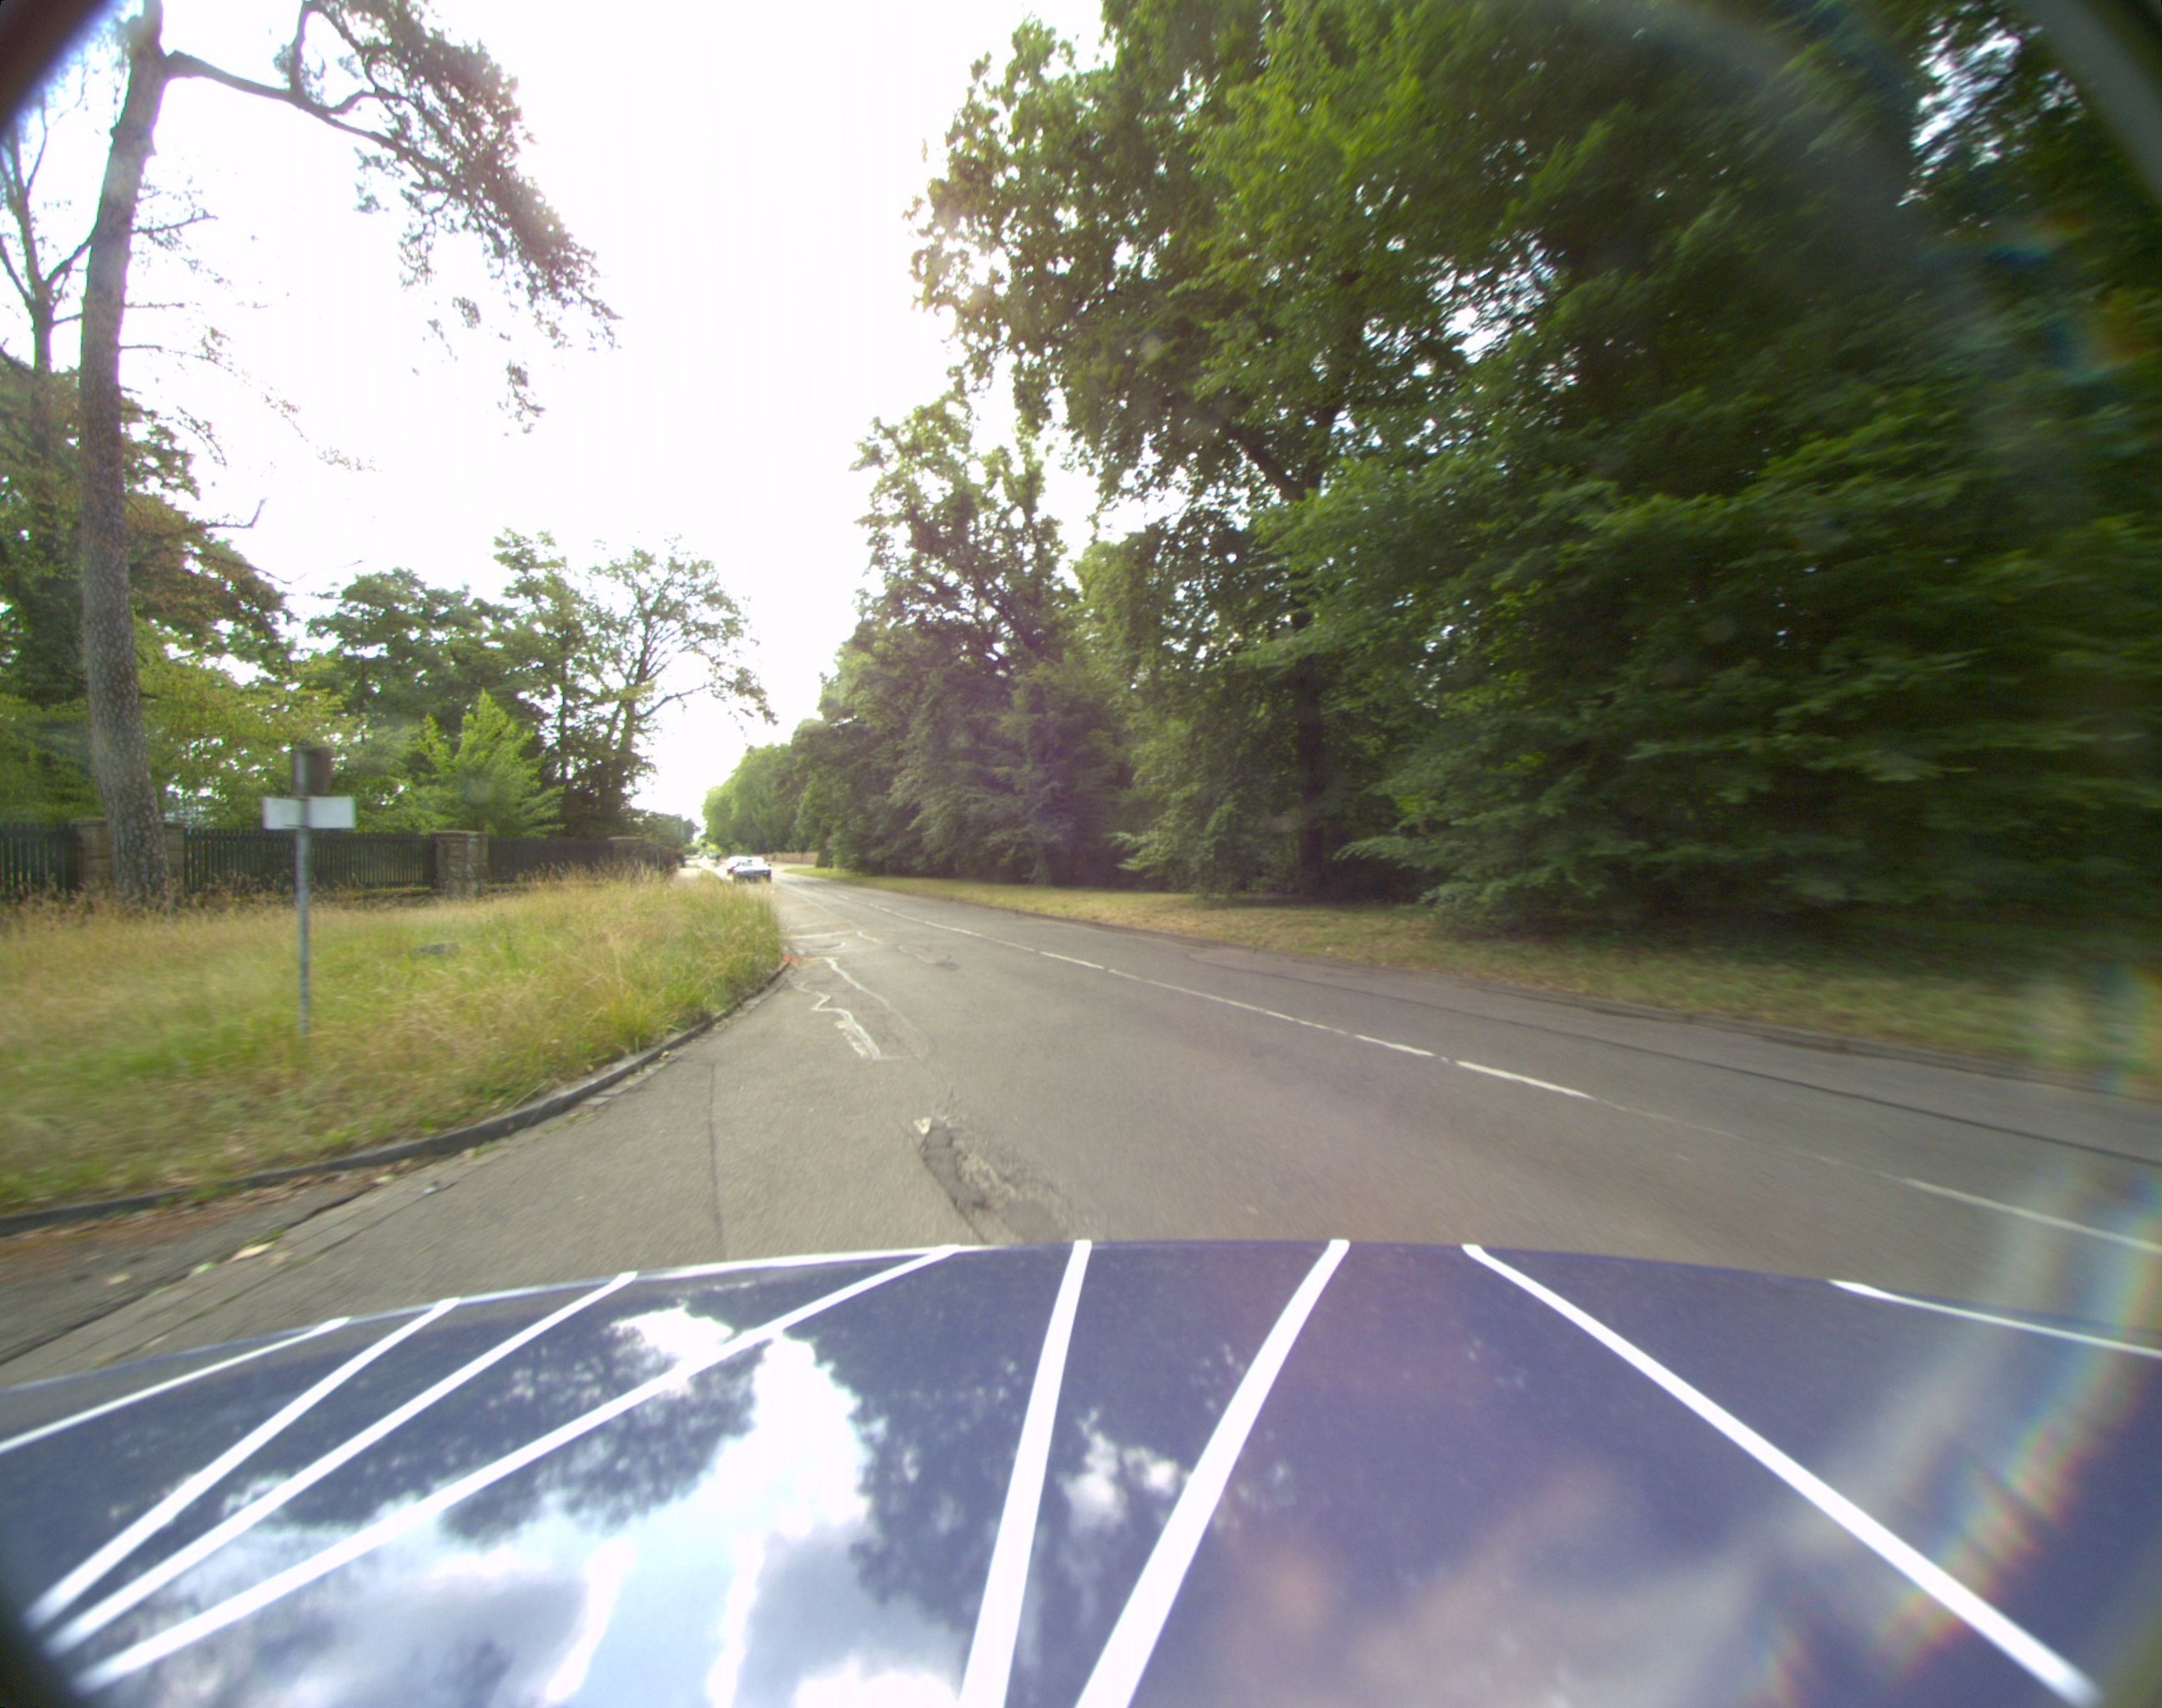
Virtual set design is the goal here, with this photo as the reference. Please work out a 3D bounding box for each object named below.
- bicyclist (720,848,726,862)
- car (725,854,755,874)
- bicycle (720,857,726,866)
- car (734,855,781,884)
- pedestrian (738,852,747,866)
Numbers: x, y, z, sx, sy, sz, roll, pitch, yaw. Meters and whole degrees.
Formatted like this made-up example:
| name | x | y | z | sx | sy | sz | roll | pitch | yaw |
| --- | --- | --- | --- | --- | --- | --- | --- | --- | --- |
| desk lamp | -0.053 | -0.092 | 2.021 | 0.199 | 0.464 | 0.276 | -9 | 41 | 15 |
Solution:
| name | x | y | z | sx | sy | sz | roll | pitch | yaw |
| --- | --- | --- | --- | --- | --- | --- | --- | --- | --- |
| bicyclist | -41.629 | 0.086 | 88.246 | 0.572 | 1.578 | 1.203 | 0 | 0 | -27 |
| car | -27.692 | 0.770 | 61.620 | 2.003 | 1.455 | 4.194 | -1 | 1 | -26 |
| bicycle | -41.739 | 0.870 | 88.479 | 0.561 | 1.066 | 2.152 | 1 | -1 | -27 |
| car | -18.292 | 0.905 | 42.878 | 1.969 | 1.455 | 4.520 | -3 | 0 | -29 |
| pedestrian | -41.261 | 0.628 | 92.671 | 0.833 | 1.641 | 0.625 | 0 | -2 | -11 |
